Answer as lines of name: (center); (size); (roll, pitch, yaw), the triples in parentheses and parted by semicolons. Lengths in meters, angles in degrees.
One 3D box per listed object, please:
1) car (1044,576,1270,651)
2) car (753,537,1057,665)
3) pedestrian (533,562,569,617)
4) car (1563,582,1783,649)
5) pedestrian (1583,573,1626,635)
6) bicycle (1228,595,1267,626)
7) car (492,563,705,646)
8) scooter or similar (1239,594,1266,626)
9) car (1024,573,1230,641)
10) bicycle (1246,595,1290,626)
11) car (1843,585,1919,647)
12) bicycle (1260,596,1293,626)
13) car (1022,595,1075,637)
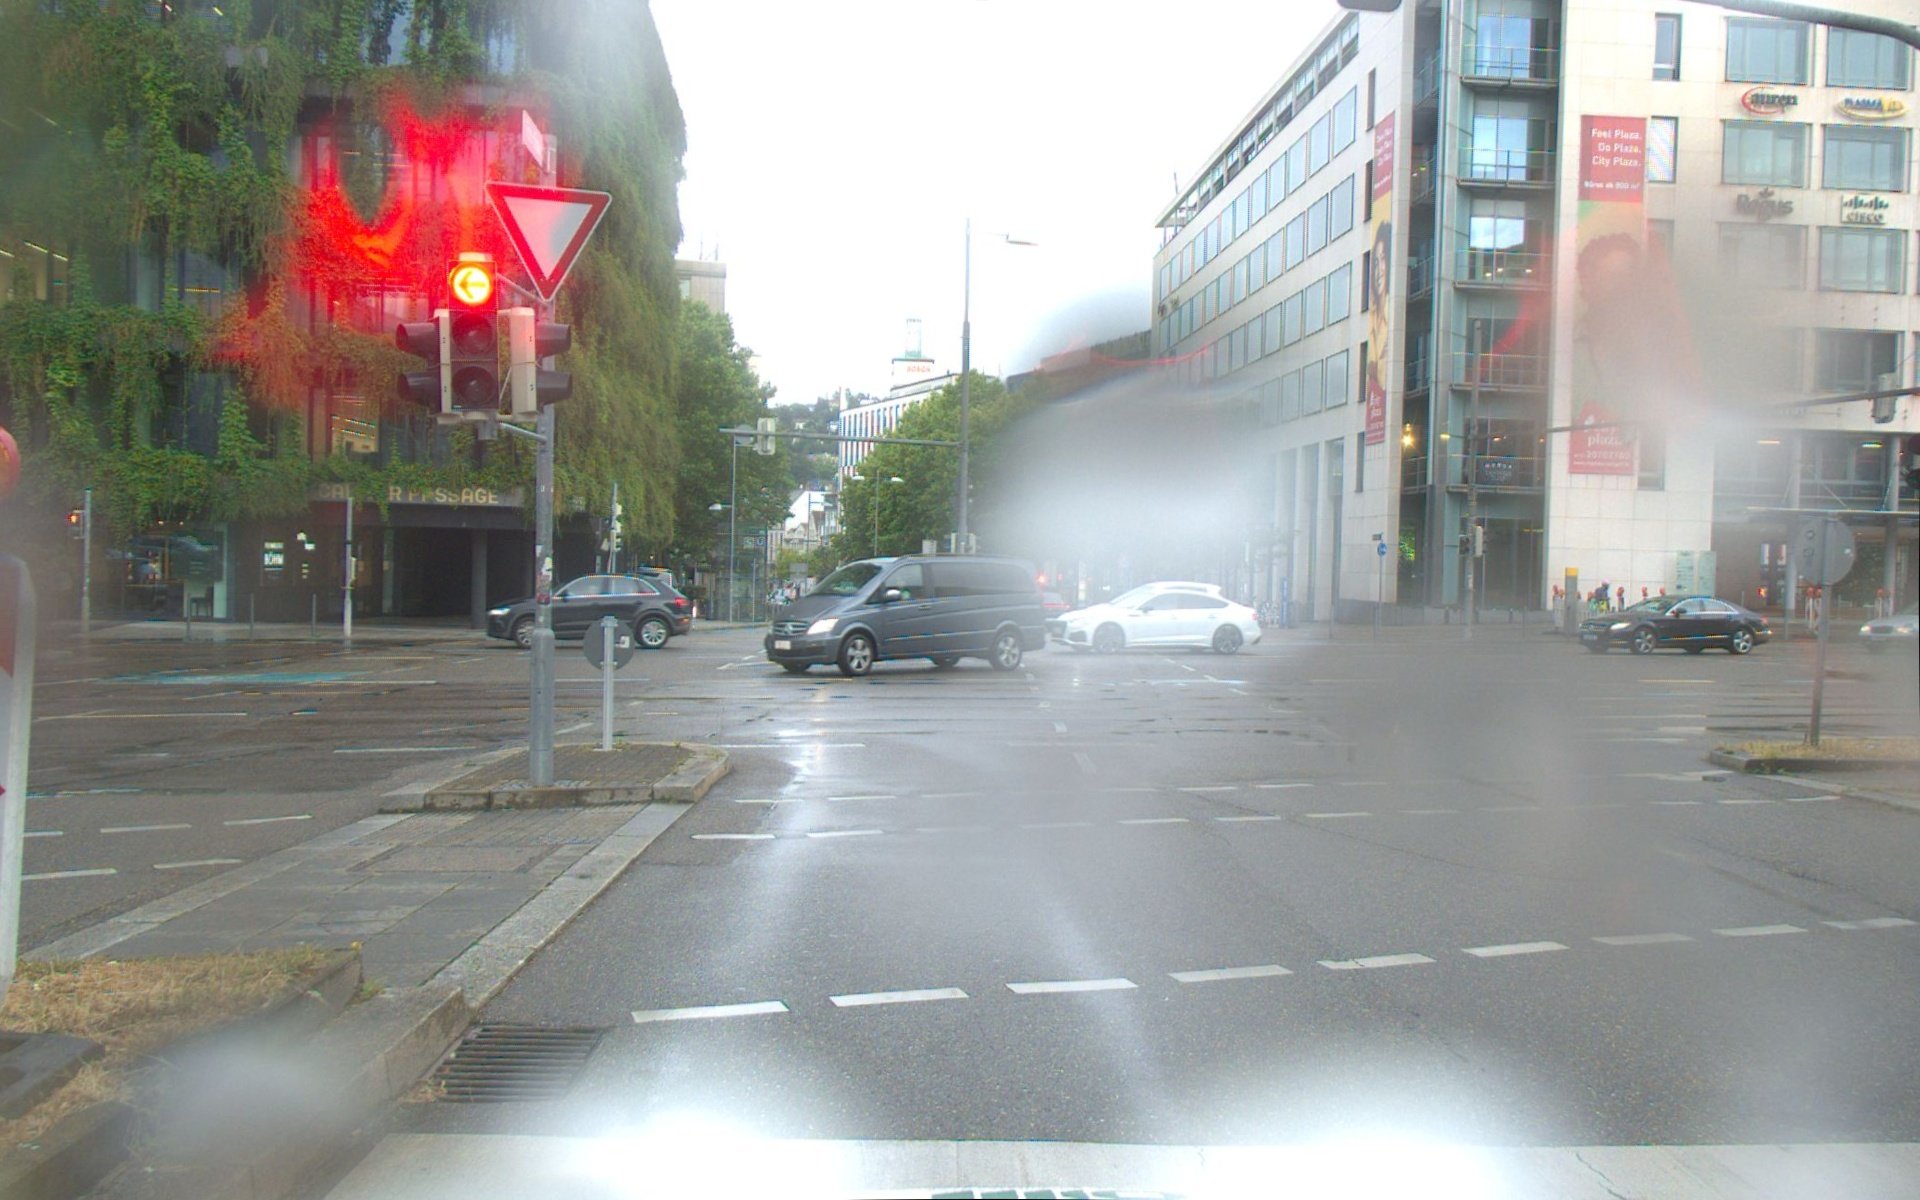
car: (4.311, 0.308, 36.375); (4.608, 1.539, 1.802); (1, 0, -17)
car: (-0.840, 0.049, 27.590); (4.918, 1.961, 1.971); (1, 0, -40)
pedestrian: (-12.703, -0.316, 51.367); (0.915, 1.673, 0.774); (1, -1, -1)
car: (17.356, 0.406, 40.321); (4.767, 1.503, 1.992); (1, -2, -16)
pedestrian: (19.456, 0.118, 49.914); (0.942, 1.848, 0.836); (1, -1, -1)
bicycle: (11.579, 0.413, 66.574); (0.578, 1.215, 1.766); (1, 0, -28)
car: (-7.765, 0.098, 35.651); (4.328, 1.667, 1.993); (1, 0, -14)
scooter or similar: (11.380, 0.400, 64.335); (0.946, 1.215, 0.453); (1, -1, 40)
car: (4.000, 0.181, 39.748); (4.608, 1.539, 1.802); (1, 0, -17)
bicycle: (12.116, 0.416, 65.030); (1.590, 1.215, 0.586); (1, -1, 25)
car: (25.230, 0.454, 42.272); (4.640, 1.503, 1.992); (1, -2, -15)
bicycle: (12.854, 0.451, 67.151); (0.575, 1.215, 1.776); (1, -1, 37)
car: (3.352, 0.594, 63.131); (1.745, 1.534, 3.999); (1, 0, -1)
